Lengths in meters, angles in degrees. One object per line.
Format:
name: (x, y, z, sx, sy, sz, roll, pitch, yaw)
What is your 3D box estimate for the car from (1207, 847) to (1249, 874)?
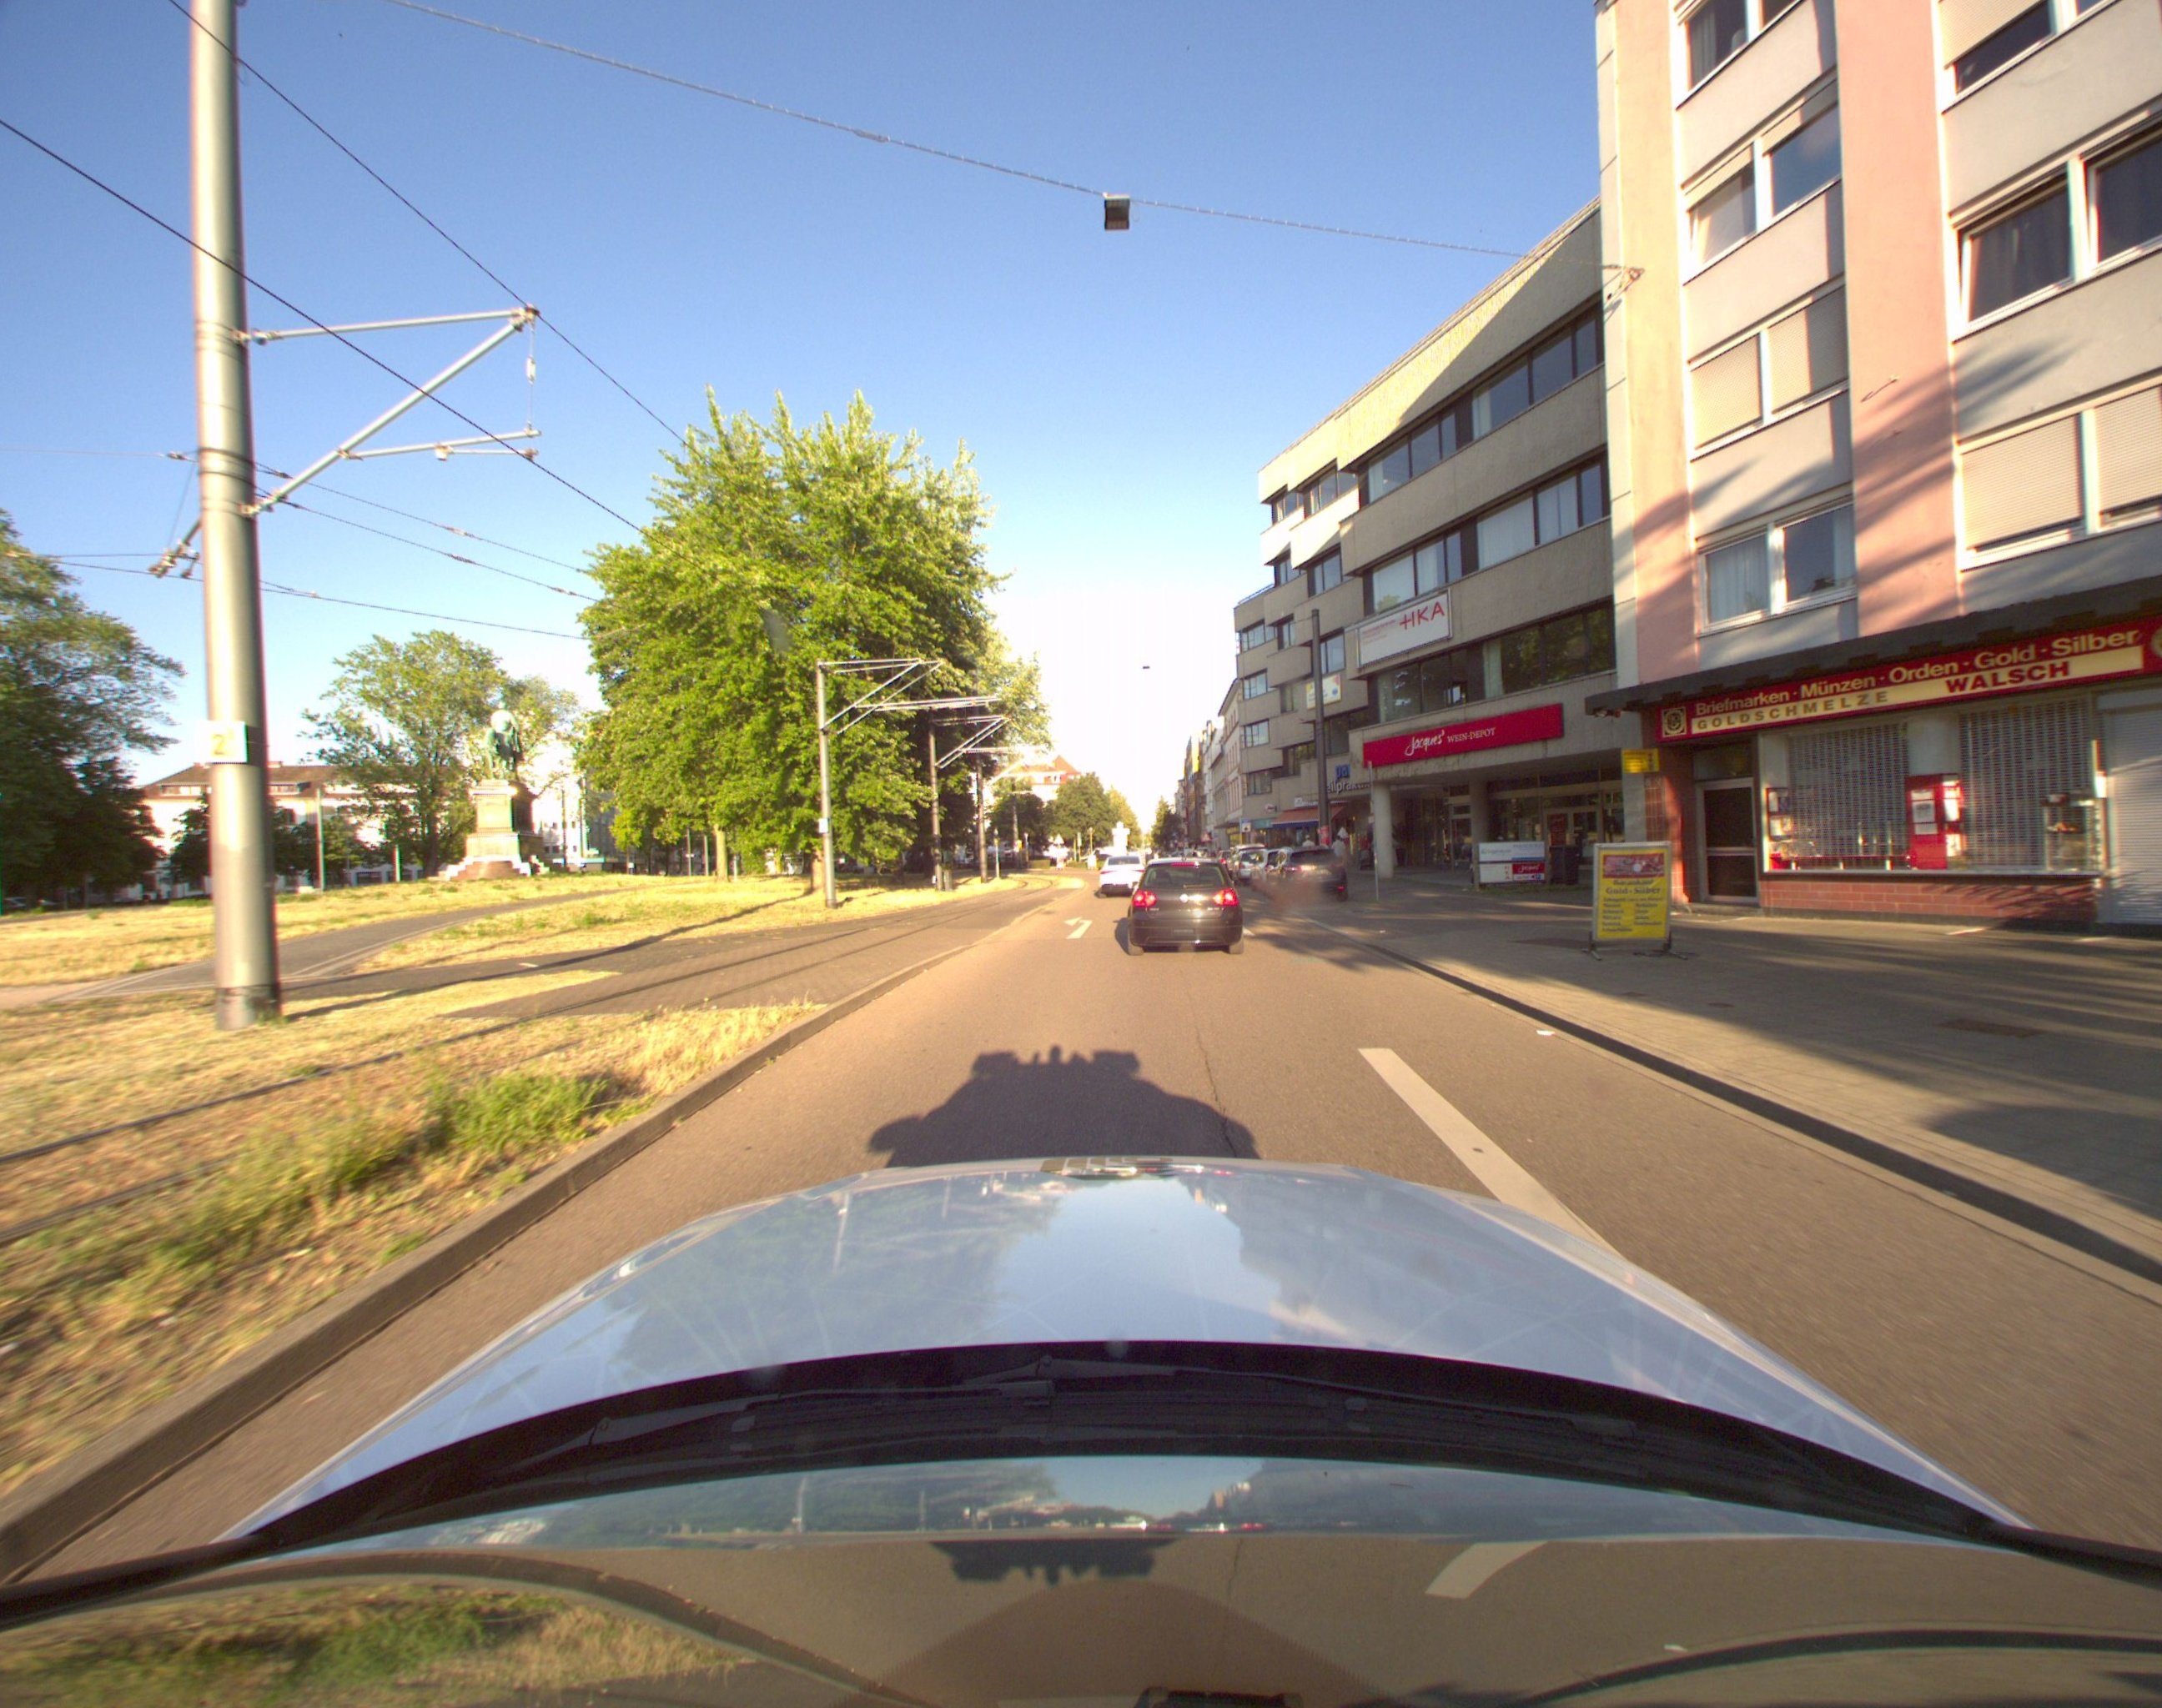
car: (8.637, 0.372, 47.998, 1.657, 1.441, 3.822, -5, 0, 0)

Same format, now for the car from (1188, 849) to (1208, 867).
car: (11.680, 0.386, 81.446, 1.727, 1.617, 3.921, -4, 0, 4)

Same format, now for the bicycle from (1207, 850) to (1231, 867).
bicycle: (10.247, 0.364, 60.437, 1.586, 1.119, 0.616, -4, 0, 38)

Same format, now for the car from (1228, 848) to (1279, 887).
car: (7.296, 0.518, 34.769, 1.653, 1.441, 3.862, -5, 0, 6)

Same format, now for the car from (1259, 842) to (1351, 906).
car: (6.451, 0.529, 23.851, 1.773, 1.556, 4.241, -5, 0, 5)

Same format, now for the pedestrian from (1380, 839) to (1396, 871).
pedestrian: (17.079, 0.045, 45.313, 0.599, 1.759, 0.518, -1, 0, -19)

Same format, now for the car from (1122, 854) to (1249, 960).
car: (1.662, 0.756, 13.638, 1.739, 1.461, 4.109, -2, 0, 5)

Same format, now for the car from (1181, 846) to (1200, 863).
car: (12.660, 0.057, 94.042, 1.916, 1.841, 4.024, -4, 0, 6)

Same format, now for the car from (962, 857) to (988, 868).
car: (-15.669, 1.246, 120.512, 3.623, 1.552, 1.652, -2, 0, -18)

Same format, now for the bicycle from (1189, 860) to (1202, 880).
bicycle: (6.036, 0.828, 42.979, 0.576, 0.987, 1.938, -1, 0, 4)

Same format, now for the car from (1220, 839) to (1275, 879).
car: (8.176, 0.230, 40.354, 1.860, 1.713, 4.508, -5, 0, 3)

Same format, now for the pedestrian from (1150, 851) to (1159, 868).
pedestrian: (6.637, 0.487, 73.561, 0.733, 1.555, 0.632, -2, -1, 1)

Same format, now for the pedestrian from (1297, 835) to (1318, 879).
pedestrian: (9.897, 0.116, 35.571, 0.619, 1.858, 0.663, -5, -1, 6)

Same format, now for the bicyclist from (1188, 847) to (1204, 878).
bicyclist: (6.064, 0.438, 42.995, 0.773, 1.618, 1.026, -1, 0, 4)

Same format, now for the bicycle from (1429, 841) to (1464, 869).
bicycle: (15.555, 0.040, 34.661, 1.767, 1.072, 0.479, -4, 0, -35)

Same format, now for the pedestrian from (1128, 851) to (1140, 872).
pedestrian: (4.418, 0.653, 68.212, 0.857, 1.706, 0.941, -1, 0, -2)

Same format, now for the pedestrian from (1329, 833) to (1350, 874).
pedestrian: (11.273, -0.010, 35.532, 0.619, 1.740, 0.663, -5, -1, 6)

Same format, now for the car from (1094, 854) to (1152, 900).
car: (1.600, 0.761, 29.370, 1.856, 1.441, 4.203, -2, 0, 5)

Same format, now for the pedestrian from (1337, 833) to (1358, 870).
pedestrian: (13.049, -0.120, 39.926, 0.694, 1.727, 1.034, -3, 0, 6)

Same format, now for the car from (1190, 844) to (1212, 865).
car: (11.214, 0.070, 76.284, 1.727, 1.800, 3.921, -4, 0, 4)

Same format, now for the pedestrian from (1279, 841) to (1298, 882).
pedestrian: (9.116, 0.334, 35.761, 0.576, 1.760, 0.663, -5, -1, 6)

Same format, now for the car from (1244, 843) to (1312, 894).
car: (6.840, 0.473, 28.605, 1.600, 1.556, 3.614, -5, 0, 4)

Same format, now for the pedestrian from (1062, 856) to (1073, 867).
pedestrian: (-1.561, 0.883, 95.260, 1.101, 1.226, 0.854, -1, 0, -22)

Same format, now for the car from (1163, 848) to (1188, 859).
car: (15.841, -0.112, 136.443, 3.964, 1.772, 2.005, -2, 0, 8)

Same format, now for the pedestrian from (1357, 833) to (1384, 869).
pedestrian: (14.009, -0.142, 39.418, 0.984, 1.673, 0.643, -3, 0, 5)

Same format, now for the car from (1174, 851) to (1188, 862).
car: (14.729, 0.374, 120.421, 1.744, 1.510, 3.548, -4, 0, 3)

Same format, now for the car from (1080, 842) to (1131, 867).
car: (2.834, 0.058, 94.633, 5.533, 2.594, 2.139, -2, 0, -22)

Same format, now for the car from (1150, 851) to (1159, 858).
car: (17.106, 0.150, 188.852, 1.898, 1.552, 4.005, -2, 0, 4)

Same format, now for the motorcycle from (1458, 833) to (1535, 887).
motorcycle: (11.183, 0.157, 21.939, 1.781, 1.331, 0.582, -4, 0, -8)
